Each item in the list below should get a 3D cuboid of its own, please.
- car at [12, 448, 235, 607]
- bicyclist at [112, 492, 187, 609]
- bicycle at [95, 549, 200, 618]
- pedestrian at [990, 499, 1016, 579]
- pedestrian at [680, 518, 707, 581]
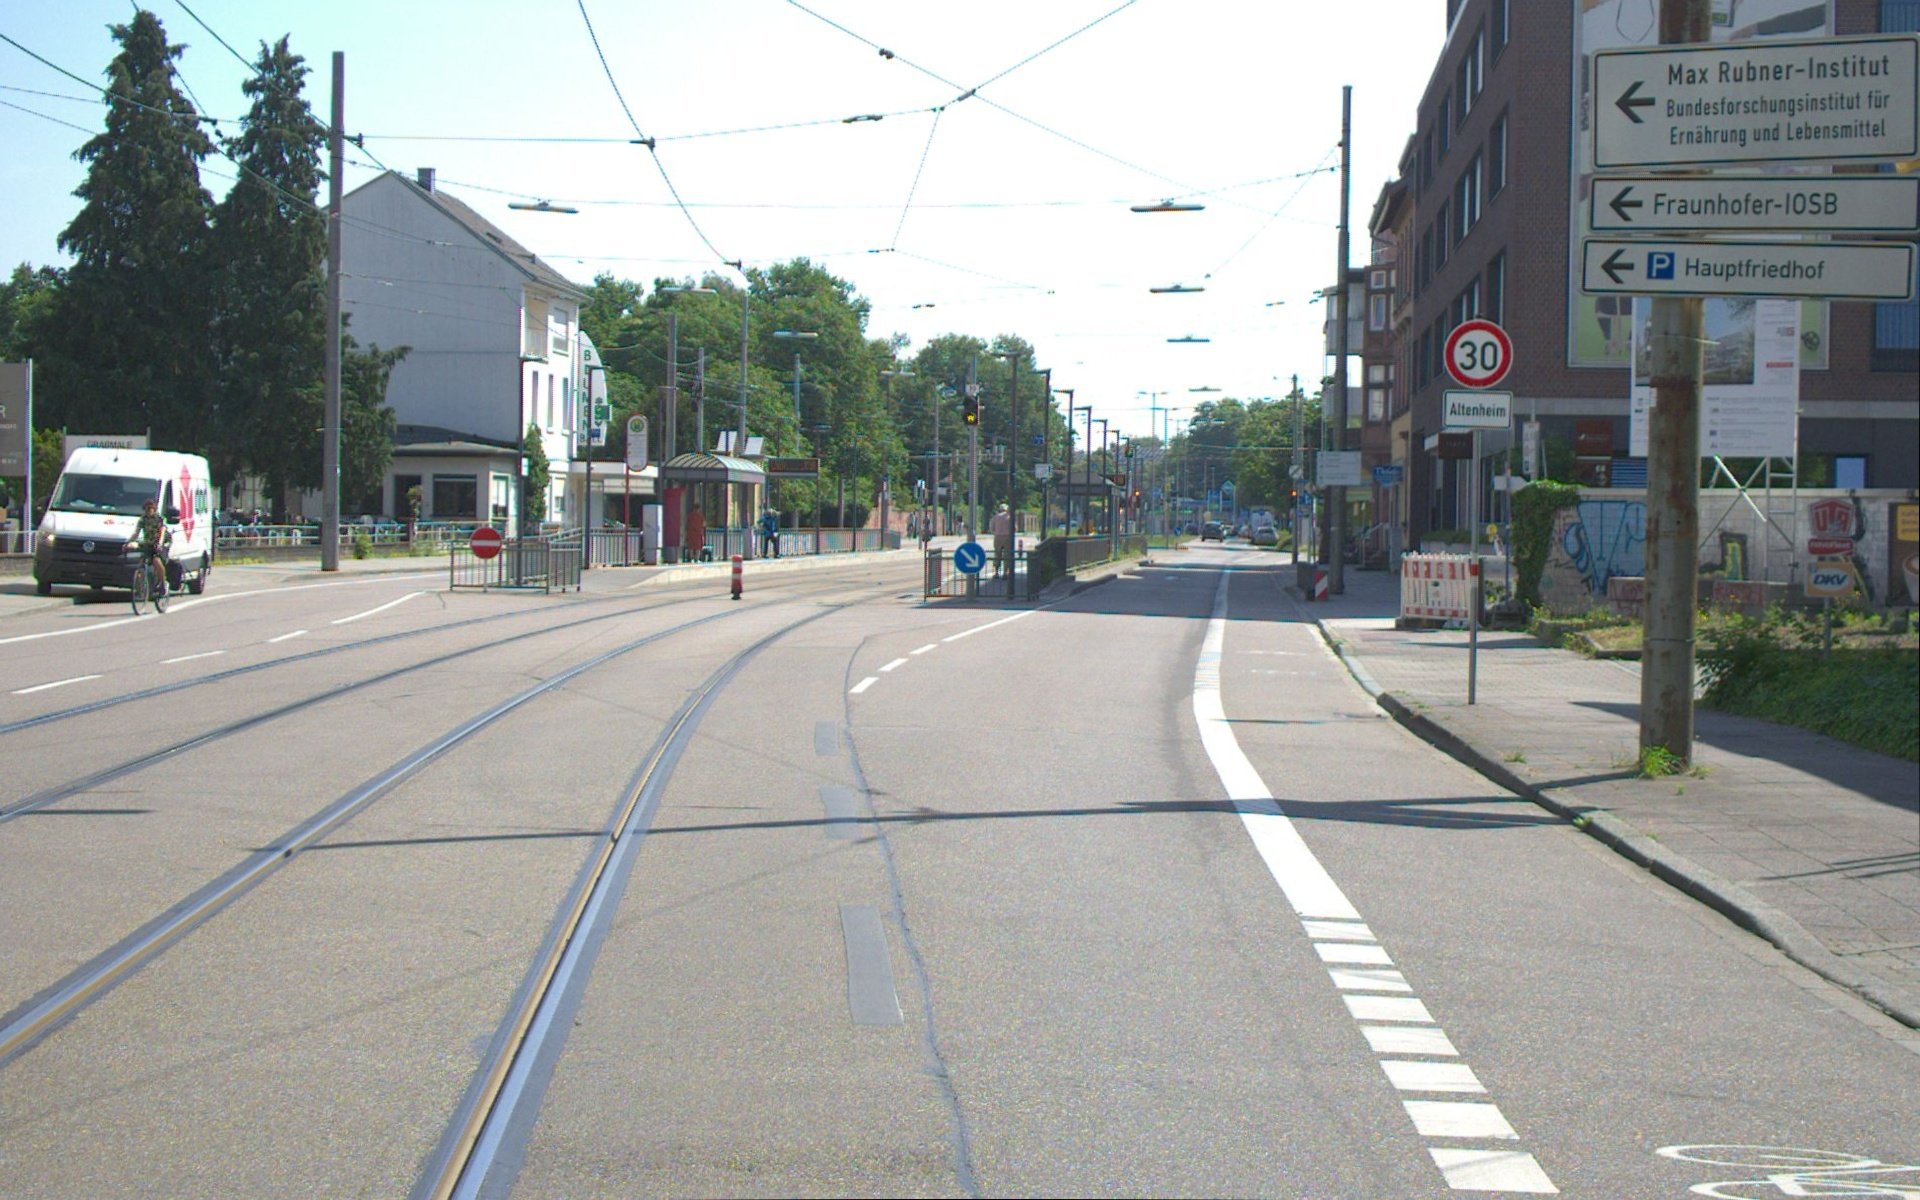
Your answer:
[{"bbox_3d":[-14.501,-1.265,60.015,2.329,2.527,6.507,3,1,-1],"label":"car"},{"bbox_3d":[-12.007,-0.737,50.961,0.716,1.718,0.987,0,1,13],"label":"bicyclist"},{"bbox_3d":[-12.011,-0.253,50.868,0.609,0.980,2.163,1,1,13],"label":"bicycle"},{"bbox_3d":[0.944,-1.337,75.741,0.556,1.754,0.793,0,1,-1],"label":"pedestrian"},{"bbox_3d":[-7.267,-1.375,93.606,0.705,1.684,0.416,1,1,-3],"label":"pedestrian"}]
